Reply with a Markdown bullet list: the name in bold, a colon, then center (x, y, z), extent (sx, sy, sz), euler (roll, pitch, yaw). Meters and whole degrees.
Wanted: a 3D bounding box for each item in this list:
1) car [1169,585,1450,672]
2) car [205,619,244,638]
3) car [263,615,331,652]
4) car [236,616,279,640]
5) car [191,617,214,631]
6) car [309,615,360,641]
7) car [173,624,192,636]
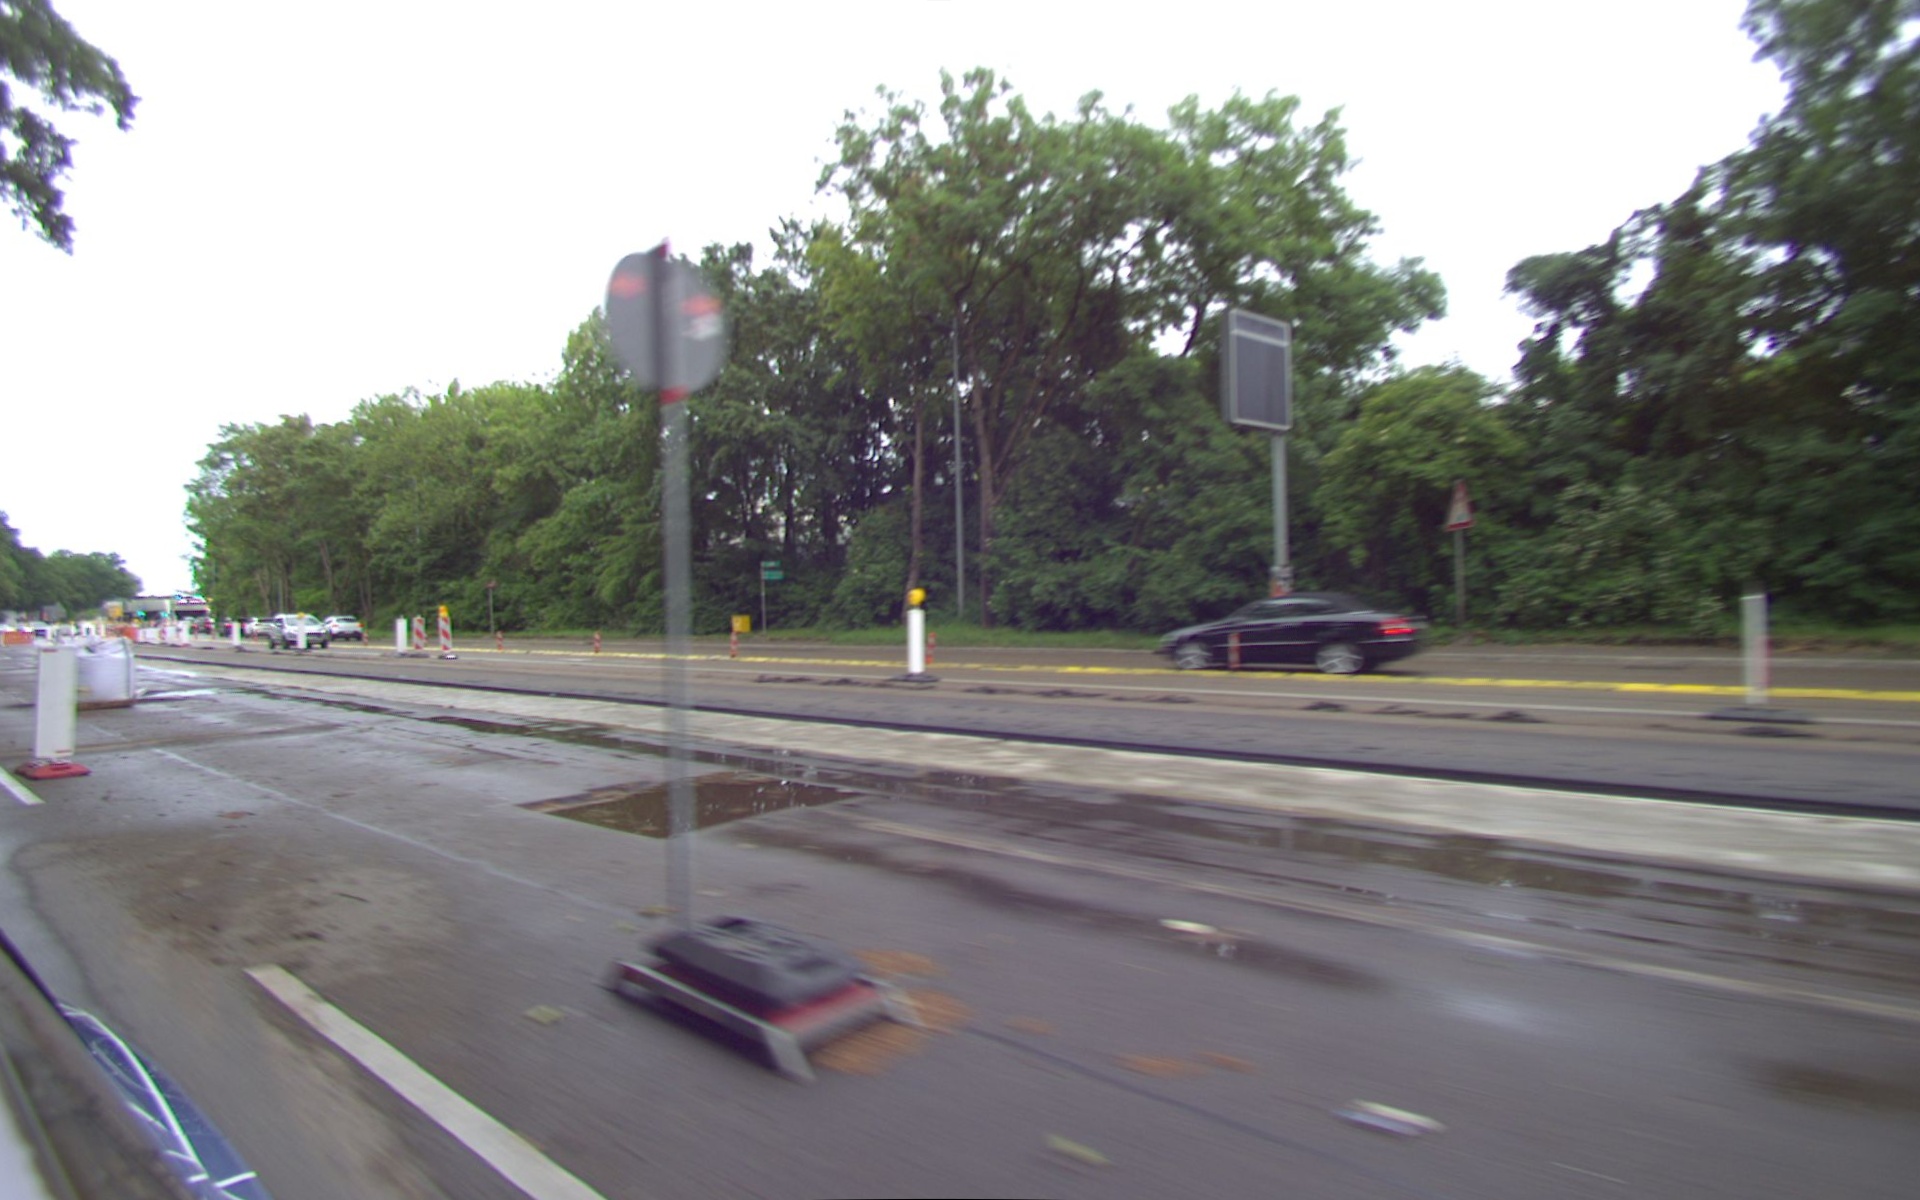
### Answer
- **car**: center (6.122, 0.503, 18.016), extent (4.386, 1.366, 1.799), euler (-2, -2, 40)
- **car**: center (-65.449, 2.536, 90.060), extent (4.913, 1.676, 1.758), euler (-1, -2, 41)
- **car**: center (-30.814, 1.520, 47.005), extent (3.861, 1.596, 1.770), euler (-1, 0, 44)
- **car**: center (-55.328, 2.202, 79.705), extent (4.378, 1.764, 1.758), euler (-1, -1, 41)
- **car**: center (-83.220, 2.665, 111.143), extent (1.762, 1.463, 4.689), euler (-1, -1, -40)
- **car**: center (-39.354, 1.769, 63.647), extent (4.156, 1.553, 1.648), euler (-2, -3, 42)
- **car**: center (-101.561, 3.931, 132.145), extent (1.762, 1.437, 4.476), euler (-1, -1, -40)
